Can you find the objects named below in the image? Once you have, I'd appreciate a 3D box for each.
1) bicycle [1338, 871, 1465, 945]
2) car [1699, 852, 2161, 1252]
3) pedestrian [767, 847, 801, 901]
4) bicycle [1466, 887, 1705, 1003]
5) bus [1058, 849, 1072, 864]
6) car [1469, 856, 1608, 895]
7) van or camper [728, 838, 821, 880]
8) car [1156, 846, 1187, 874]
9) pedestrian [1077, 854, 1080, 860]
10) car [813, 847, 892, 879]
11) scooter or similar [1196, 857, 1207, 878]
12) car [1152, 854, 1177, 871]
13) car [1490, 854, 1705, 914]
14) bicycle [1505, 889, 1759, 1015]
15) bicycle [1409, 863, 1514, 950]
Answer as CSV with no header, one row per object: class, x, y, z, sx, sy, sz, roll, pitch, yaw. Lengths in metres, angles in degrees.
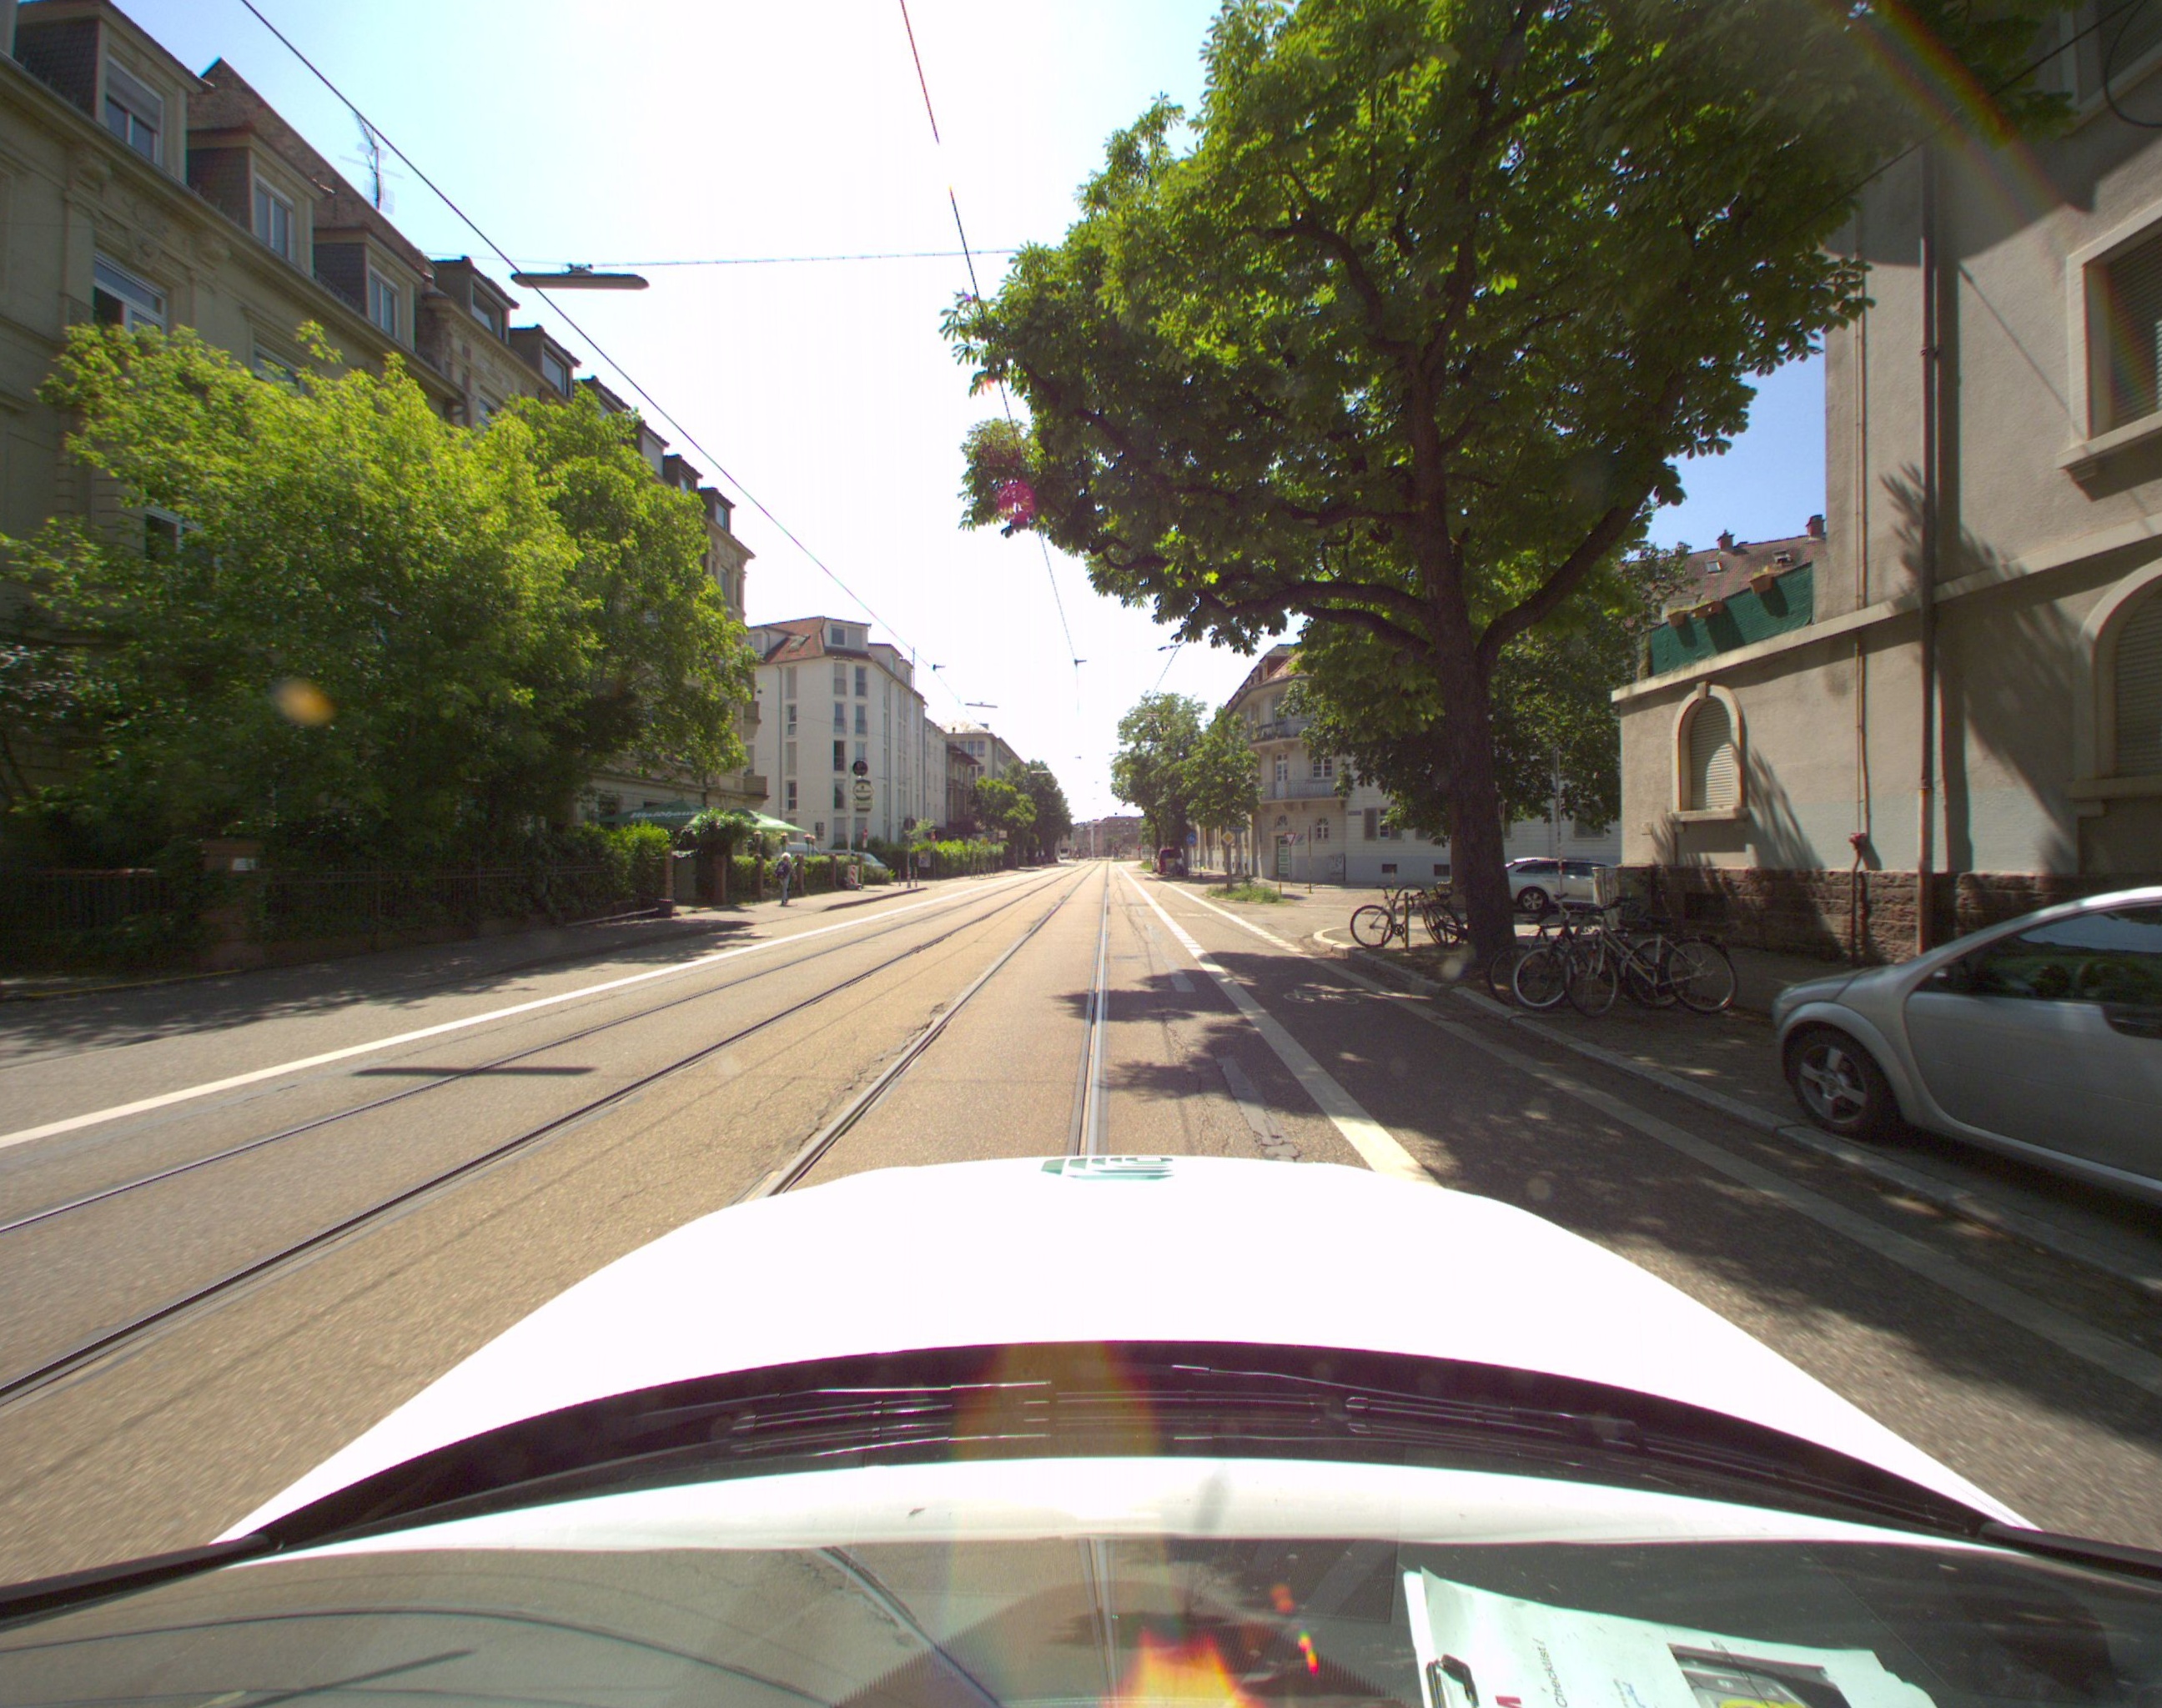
bicycle,5.096,0.852,13.011,1.809,1.113,0.493,-1,-2,1
car,4.843,0.739,3.426,1.616,1.448,3.811,-3,-1,2
pedestrian,-9.175,0.619,25.176,0.748,1.629,0.833,1,-1,-1
bicycle,5.136,0.920,8.387,2.001,1.113,0.640,-1,-2,3
bus,-4.266,0.779,220.599,2.920,3.937,11.278,2,-1,2
car,17.810,0.795,31.877,4.637,1.389,1.749,0,0,29
van or camper,-16.486,0.268,44.073,1.977,2.119,4.823,0,0,21
car,6.868,0.402,62.112,1.986,2.035,4.699,0,0,2
pedestrian,-0.577,0.695,174.203,0.491,1.173,0.588,0,0,-10
car,-14.519,0.560,51.810,4.445,1.904,2.009,0,0,18
scooter or similar,7.370,0.805,49.734,0.499,1.230,1.574,0,0,2
car,7.107,0.719,69.602,1.778,1.473,3.773,0,0,1
car,13.411,0.731,21.479,4.637,1.437,1.749,0,0,29
bicycle,5.196,0.917,7.764,1.954,1.113,0.599,-1,-2,3
bicycle,5.871,0.776,12.711,0.578,1.231,2.004,-1,-1,-3
